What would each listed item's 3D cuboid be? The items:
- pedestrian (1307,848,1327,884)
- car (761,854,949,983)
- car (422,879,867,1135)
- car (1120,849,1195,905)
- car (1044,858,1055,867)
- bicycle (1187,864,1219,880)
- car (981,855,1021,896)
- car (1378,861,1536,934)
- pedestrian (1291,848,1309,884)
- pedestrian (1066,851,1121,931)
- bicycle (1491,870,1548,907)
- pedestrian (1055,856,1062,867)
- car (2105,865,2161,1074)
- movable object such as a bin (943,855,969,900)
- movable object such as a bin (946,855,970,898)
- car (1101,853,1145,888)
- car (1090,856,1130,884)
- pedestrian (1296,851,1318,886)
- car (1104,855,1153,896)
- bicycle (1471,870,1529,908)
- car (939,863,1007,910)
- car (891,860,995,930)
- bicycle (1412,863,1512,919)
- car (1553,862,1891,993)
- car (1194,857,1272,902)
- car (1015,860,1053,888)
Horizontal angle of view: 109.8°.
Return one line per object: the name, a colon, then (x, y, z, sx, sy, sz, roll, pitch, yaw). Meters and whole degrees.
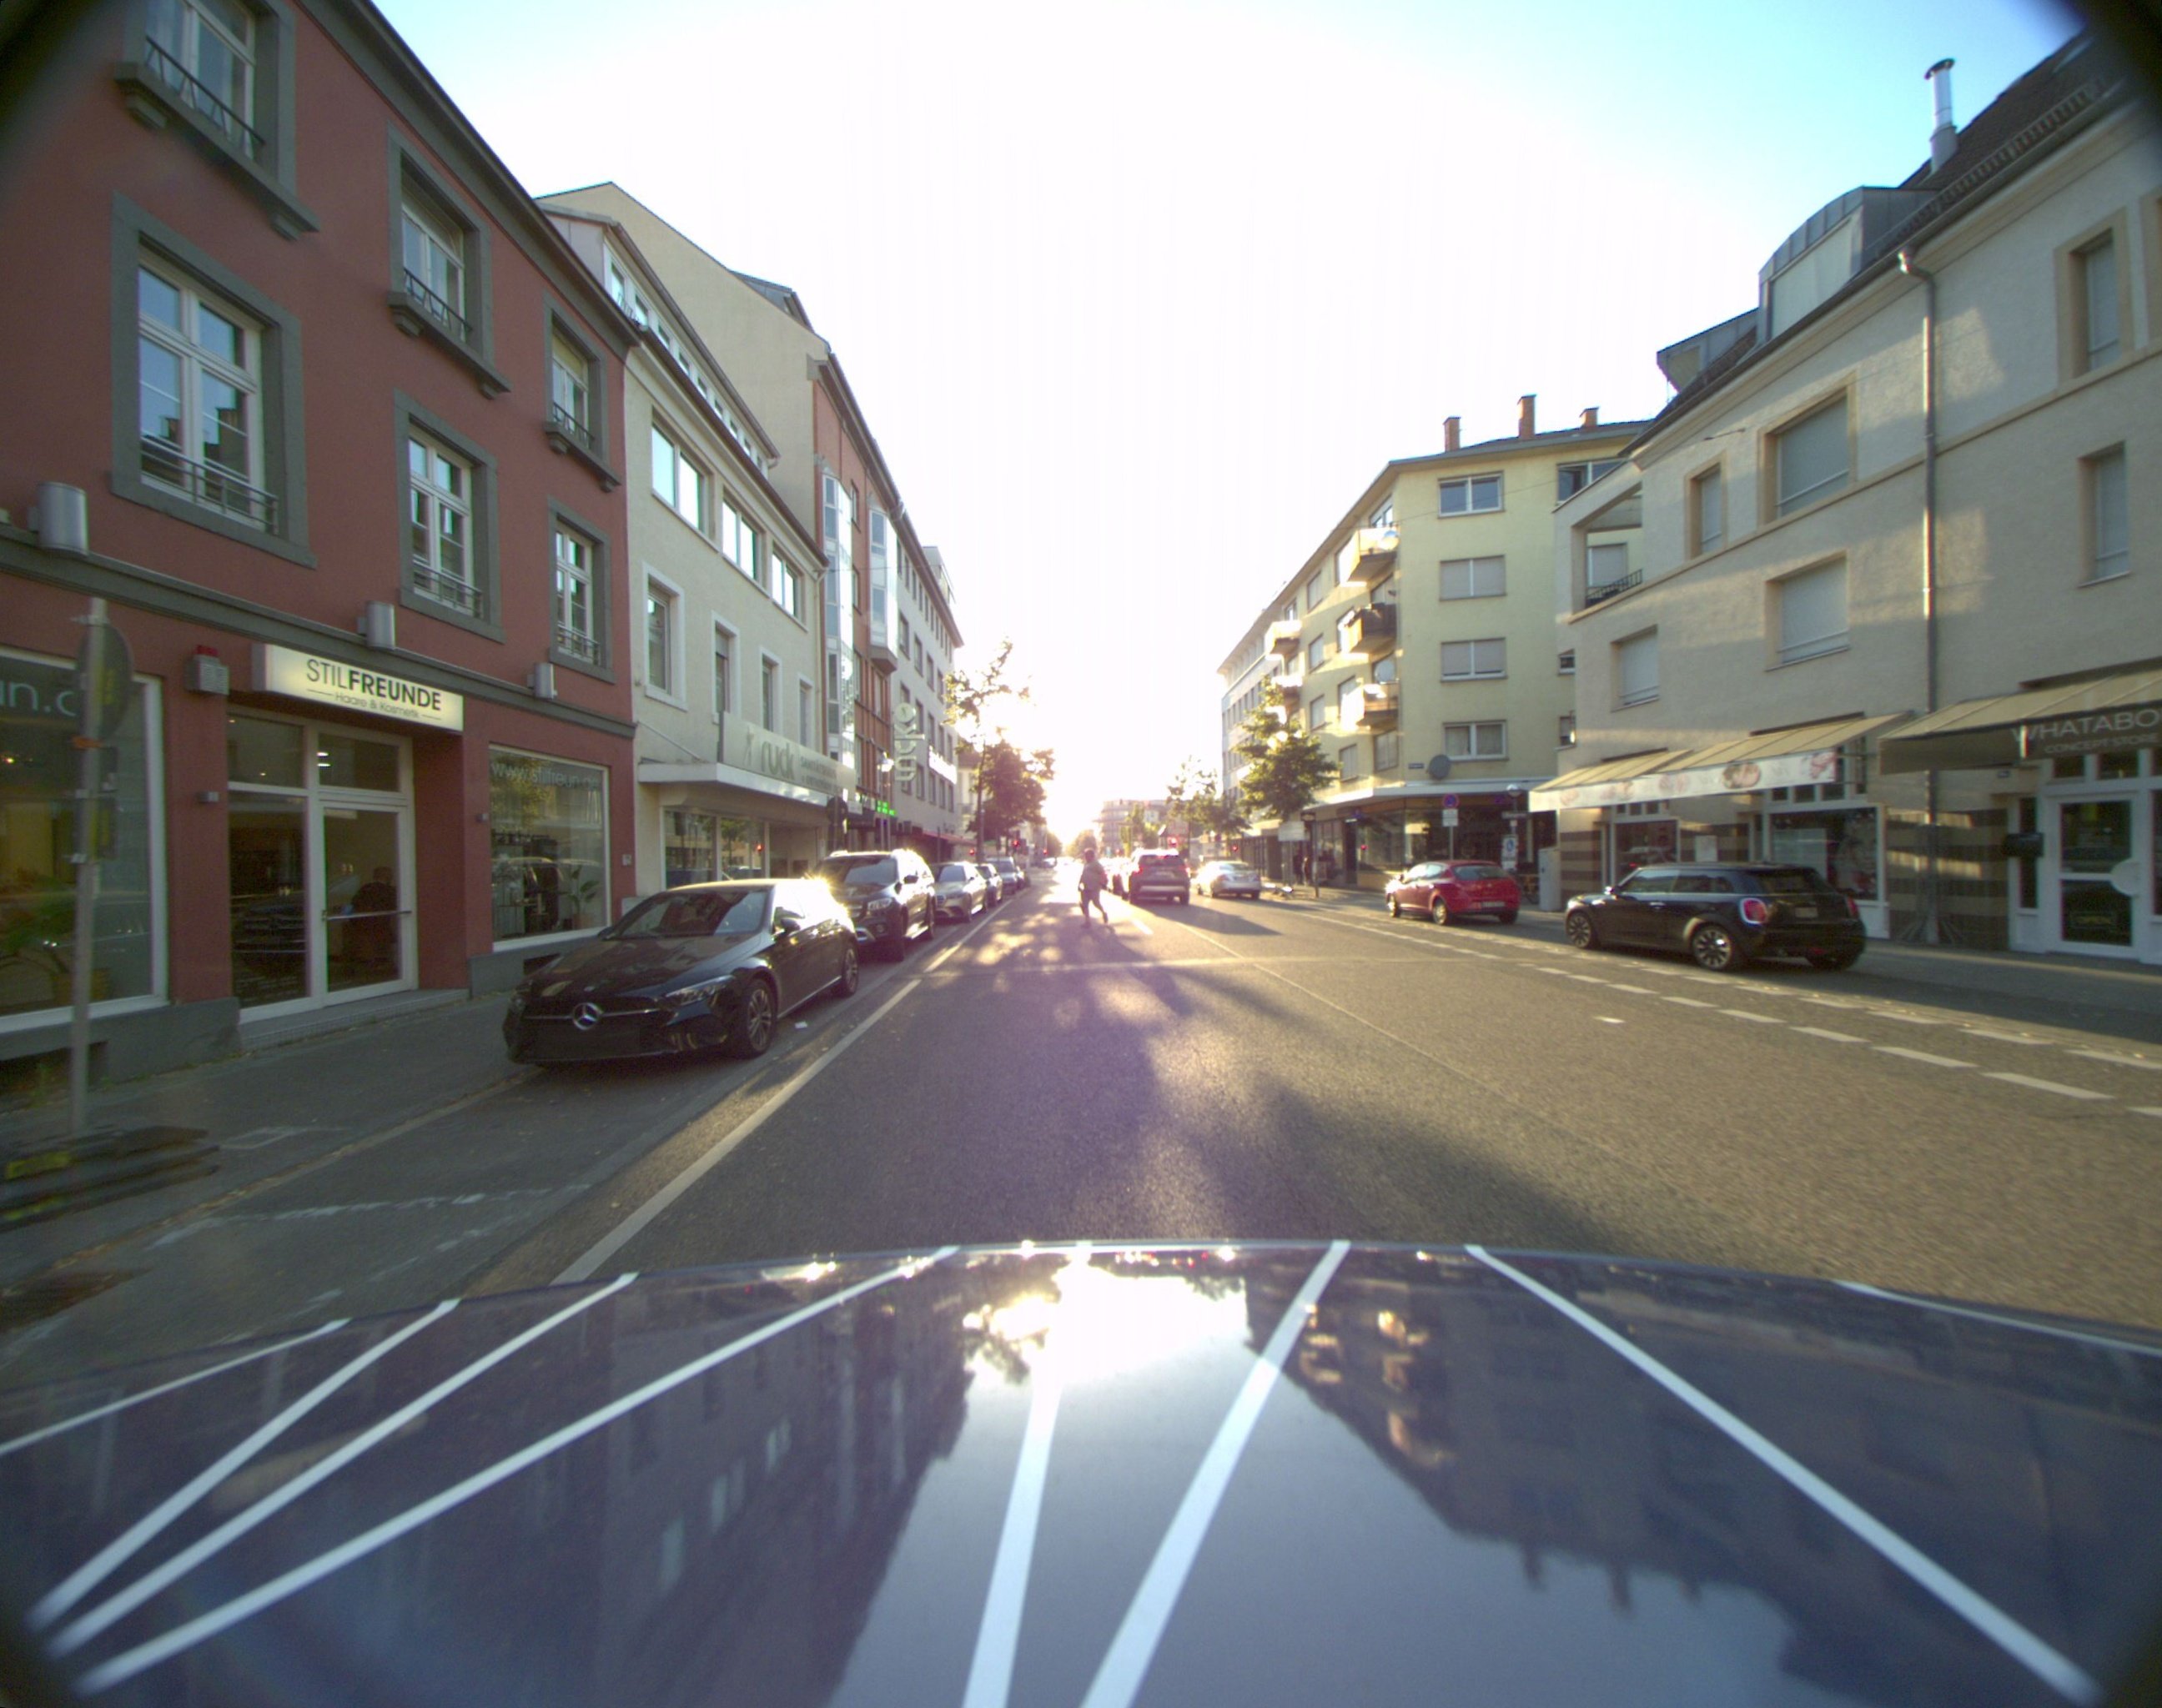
pedestrian: (11.900, 0.594, 38.273, 0.742, 1.808, 0.813, -1, 0, 1)
car: (-3.707, 0.933, 13.518, 1.888, 1.744, 5.057, -2, 1, -2)
car: (-3.549, 1.109, 7.298, 1.766, 1.475, 4.306, -2, 1, -1)
car: (2.395, 0.679, 24.990, 1.945, 1.635, 4.738, 0, 1, -1)
car: (-5.945, 1.620, 144.184, 1.999, 1.538, 4.507, -2, 1, -3)
bicycle: (8.066, 1.176, 50.156, 2.015, 0.986, 0.491, -2, 1, -5)
car: (-3.725, 0.965, 35.866, 1.659, 1.768, 4.010, -2, 0, -4)
car: (8.664, 0.935, 17.915, 1.665, 1.394, 3.883, -2, 1, -2)
pedestrian: (11.376, 0.616, 39.542, 0.769, 1.836, 0.743, -1, -1, 8)
pedestrian: (0.257, 0.782, 16.578, 0.907, 1.666, 0.991, -1, 0, -17)
bicycle: (12.928, 0.992, 22.467, 0.491, 0.986, 2.015, -2, 1, 0)
pedestrian: (-3.440, 1.232, 118.371, 0.905, 1.666, 0.780, -2, 1, 10)
car: (8.931, 0.827, 4.344, 1.797, 1.526, 3.188, -2, 0, -4)
movable object such as a bin: (-5.068, 0.941, 30.912, 0.837, 1.763, 1.352, -2, 1, -5)
movable object such as a bin: (-5.185, 0.932, 32.208, 0.837, 1.763, 1.205, -2, 1, -5)
car: (2.064, 0.805, 38.765, 1.951, 1.635, 4.614, 0, 1, -1)
car: (1.667, 0.938, 45.472, 1.963, 1.538, 4.508, -1, -1, -3)
pedestrian: (11.011, 0.712, 37.024, 0.768, 1.666, 0.744, -1, 1, 41)
car: (1.922, 0.846, 32.089, 1.728, 1.540, 4.464, 0, 1, -1)
bicycle: (12.375, 1.016, 22.513, 0.491, 0.986, 2.015, -2, 1, -3)
car: (-3.639, 1.056, 26.335, 1.757, 1.412, 4.509, -2, 0, -1)
car: (-3.578, 1.001, 20.673, 1.816, 1.518, 4.993, -2, 1, 1)
bicycle: (10.234, 0.938, 20.611, 0.961, 1.293, 3.126, -2, 1, -3)
car: (8.923, 0.907, 11.058, 1.715, 1.445, 3.724, -2, 1, -1)
car: (5.852, 0.932, 29.814, 1.999, 1.503, 4.508, 2, 1, -1)
car: (-2.560, 1.080, 41.960, 1.942, 1.368, 4.181, -2, 0, -3)
